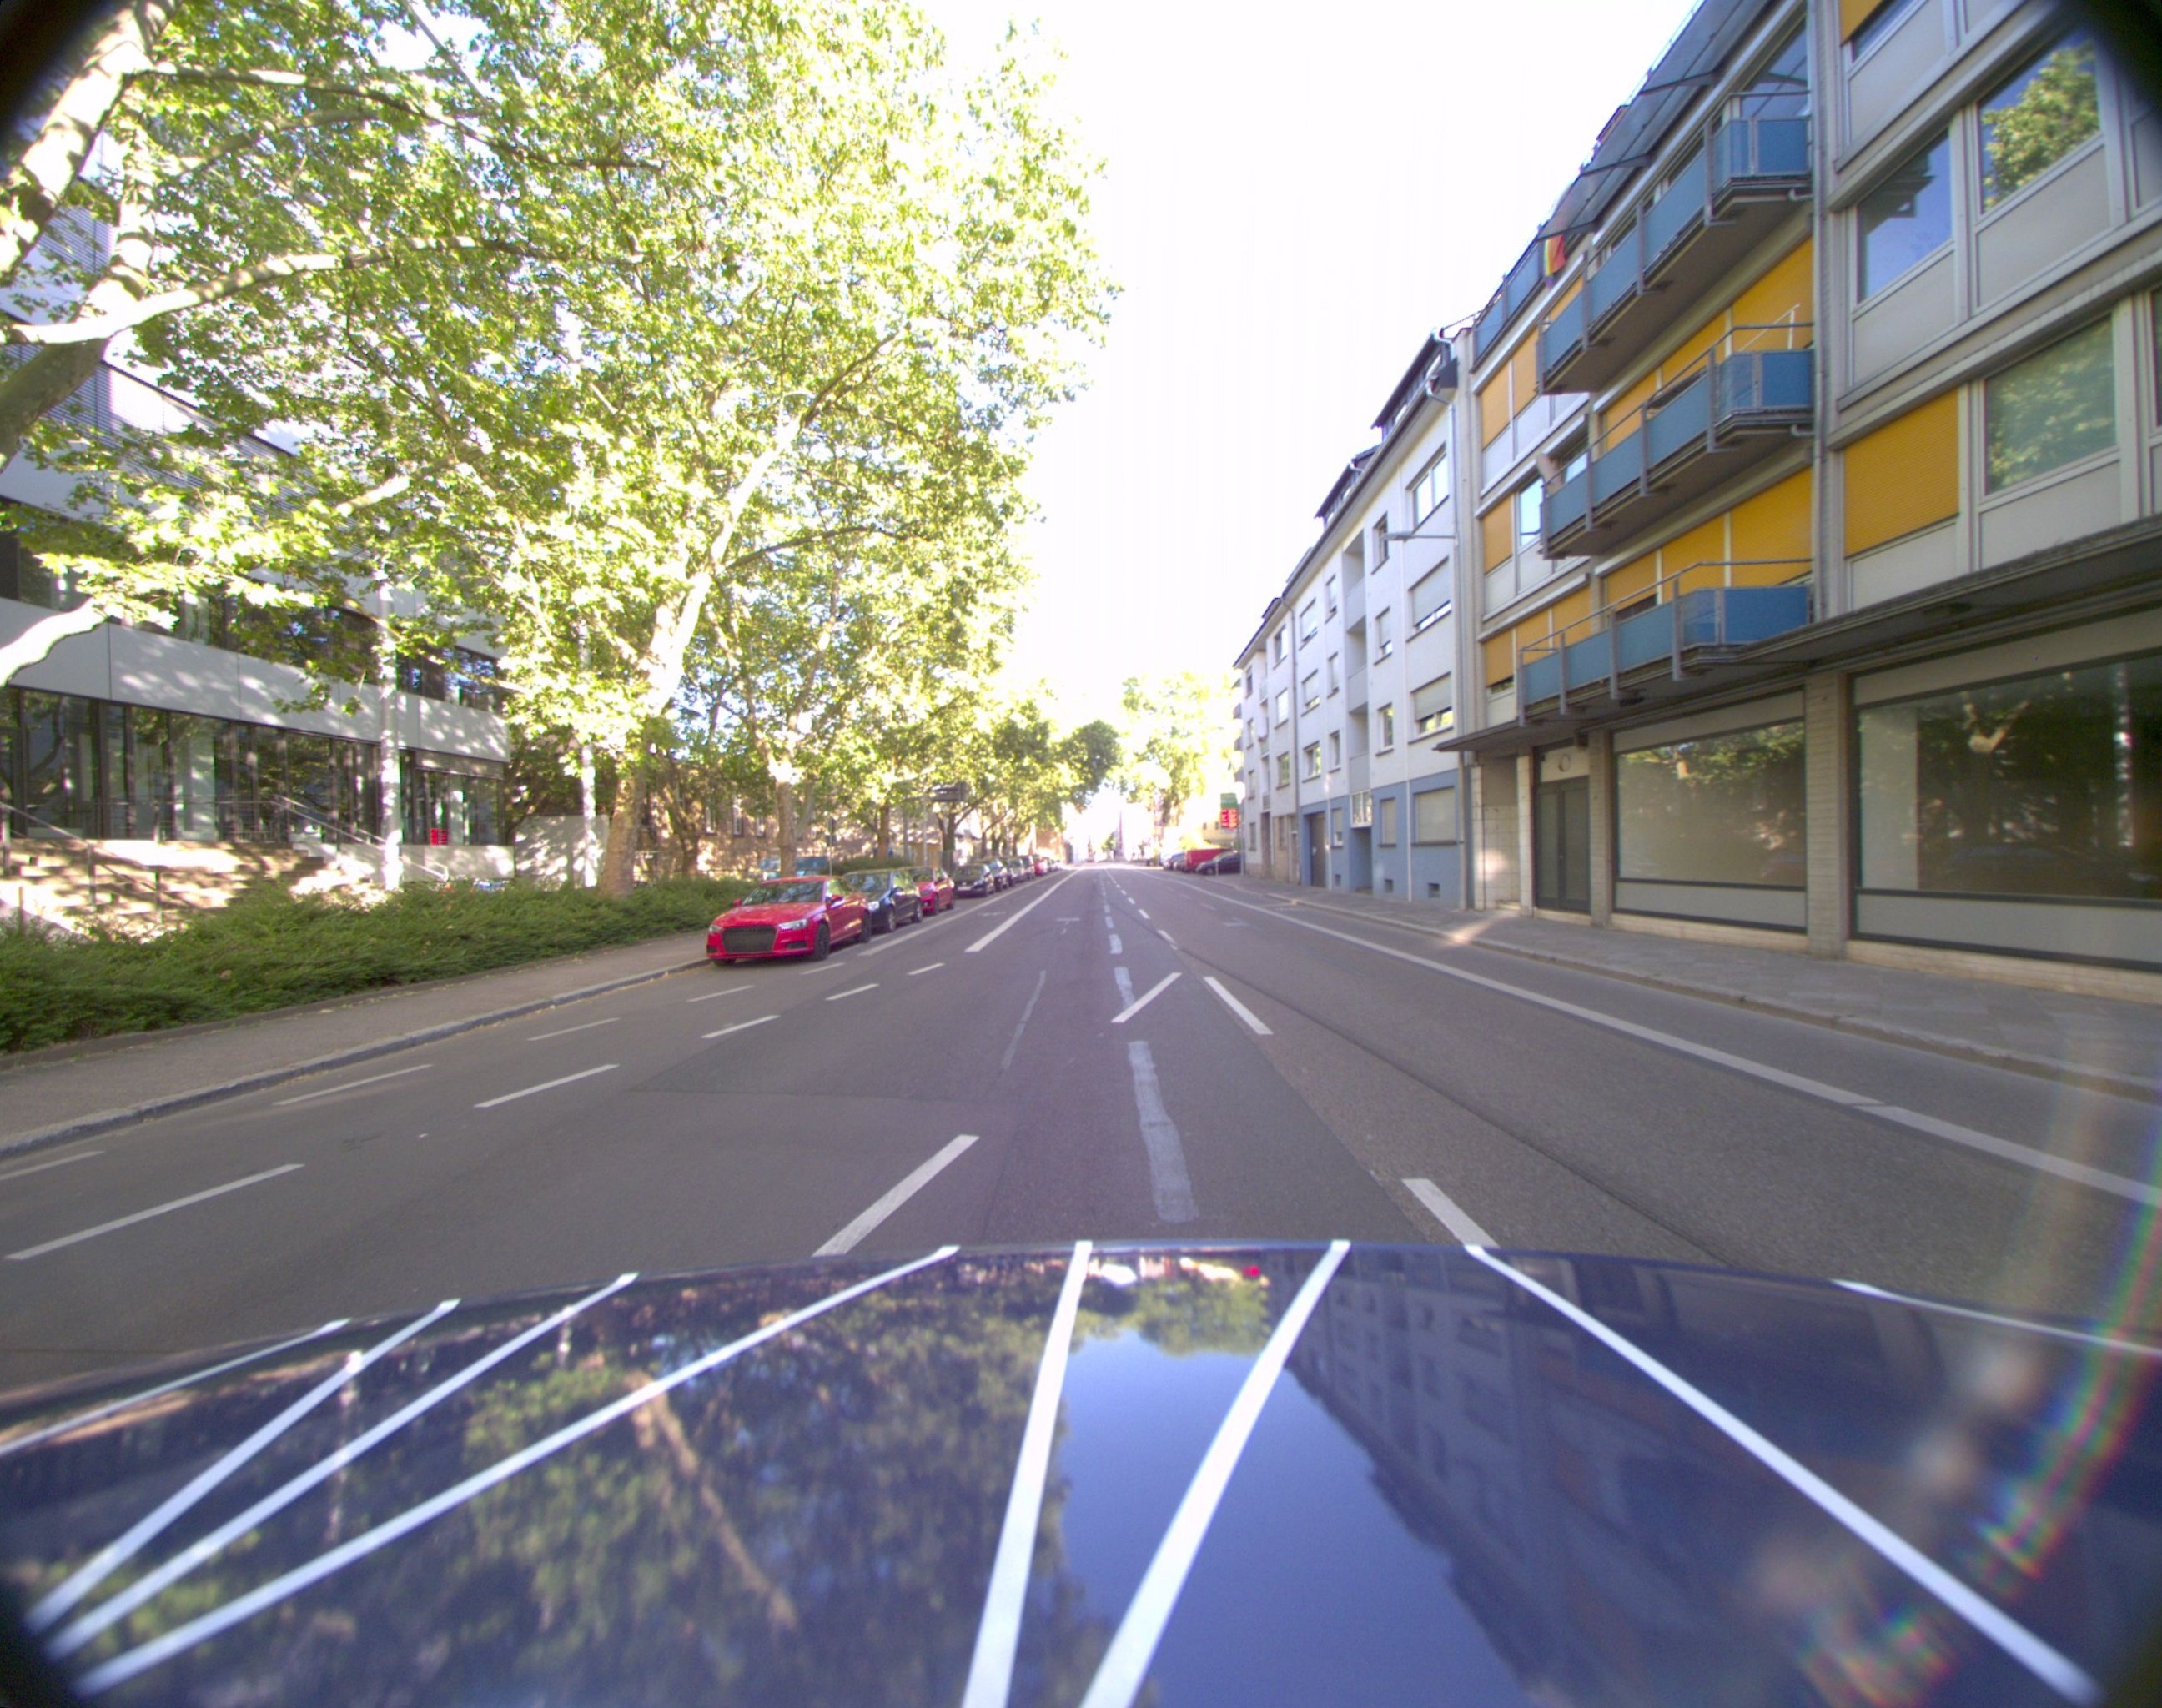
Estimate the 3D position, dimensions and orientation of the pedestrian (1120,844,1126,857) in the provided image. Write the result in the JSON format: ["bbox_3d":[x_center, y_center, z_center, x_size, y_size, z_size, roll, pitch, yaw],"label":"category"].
[{"bbox_3d":[10.848,-0.976,194.709,1.358,3.172,1.897,-2,1,1],"label":"pedestrian"}]

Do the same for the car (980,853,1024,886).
[{"bbox_3d":[-4.545,0.860,44.191,1.998,1.715,4.262,-2,1,1],"label":"car"}]

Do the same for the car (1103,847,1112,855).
[{"bbox_3d":[6.768,-0.818,193.459,1.998,2.002,3.999,-2,1,1],"label":"car"}]

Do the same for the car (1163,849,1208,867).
[{"bbox_3d":[10.083,0.384,73.360,3.998,1.618,1.702,-2,1,-5],"label":"car"}]

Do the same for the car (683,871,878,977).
[{"bbox_3d":[-5.122,1.112,13.636,1.775,1.416,4.173,-3,0,0],"label":"car"}]

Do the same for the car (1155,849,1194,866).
[{"bbox_3d":[9.616,0.366,78.566,3.703,1.573,1.718,-2,1,-5],"label":"car"}]

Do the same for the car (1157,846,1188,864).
[{"bbox_3d":[10.232,0.095,85.264,3.267,1.927,1.693,-2,1,2],"label":"car"}]

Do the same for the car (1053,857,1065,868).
[{"bbox_3d":[-2.627,1.016,92.323,1.300,1.220,3.241,-1,0,0],"label":"car"}]

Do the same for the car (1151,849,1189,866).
[{"bbox_3d":[9.487,0.362,80.858,3.728,1.579,1.743,-2,1,-5],"label":"car"}]

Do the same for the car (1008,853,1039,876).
[{"bbox_3d":[-4.169,0.741,55.508,1.831,1.608,4.177,-1,0,1],"label":"car"}]

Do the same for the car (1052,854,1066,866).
[{"bbox_3d":[-2.969,0.802,102.866,1.707,1.459,3.809,-1,0,0],"label":"car"}]

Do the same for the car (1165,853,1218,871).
[{"bbox_3d":[9.075,0.645,62.765,4.033,1.265,1.906,-2,1,-1],"label":"car"}]

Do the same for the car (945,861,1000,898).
[{"bbox_3d":[-4.677,1.075,33.261,1.745,1.430,4.000,-1,0,1],"label":"car"}]

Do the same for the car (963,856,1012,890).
[{"bbox_3d":[-4.623,0.913,38.207,1.848,1.572,4.232,-2,0,1],"label":"car"}]

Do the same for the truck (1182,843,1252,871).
[{"bbox_3d":[10.727,0.228,60.094,5.088,2.009,2.000,-2,1,0],"label":"truck"}]

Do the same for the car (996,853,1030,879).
[{"bbox_3d":[-4.441,0.730,50.452,1.798,1.608,4.075,-1,0,1],"label":"car"}]

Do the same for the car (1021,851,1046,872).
[{"bbox_3d":[-4.107,0.605,66.178,1.876,1.685,4.166,-1,0,1],"label":"car"}]

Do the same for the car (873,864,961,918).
[{"bbox_3d":[-5.007,1.088,23.694,1.790,1.429,4.000,-1,0,1],"label":"car"}]

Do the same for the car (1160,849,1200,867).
[{"bbox_3d":[9.880,0.370,75.908,3.658,1.578,1.659,-2,1,-5],"label":"car"}]

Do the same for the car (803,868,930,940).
[{"bbox_3d":[-5.069,1.126,18.520,1.813,1.449,4.000,-1,0,2],"label":"car"}]

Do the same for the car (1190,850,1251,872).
[{"bbox_3d":[10.066,0.504,54.945,3.997,1.385,1.781,-2,1,-1],"label":"car"}]
